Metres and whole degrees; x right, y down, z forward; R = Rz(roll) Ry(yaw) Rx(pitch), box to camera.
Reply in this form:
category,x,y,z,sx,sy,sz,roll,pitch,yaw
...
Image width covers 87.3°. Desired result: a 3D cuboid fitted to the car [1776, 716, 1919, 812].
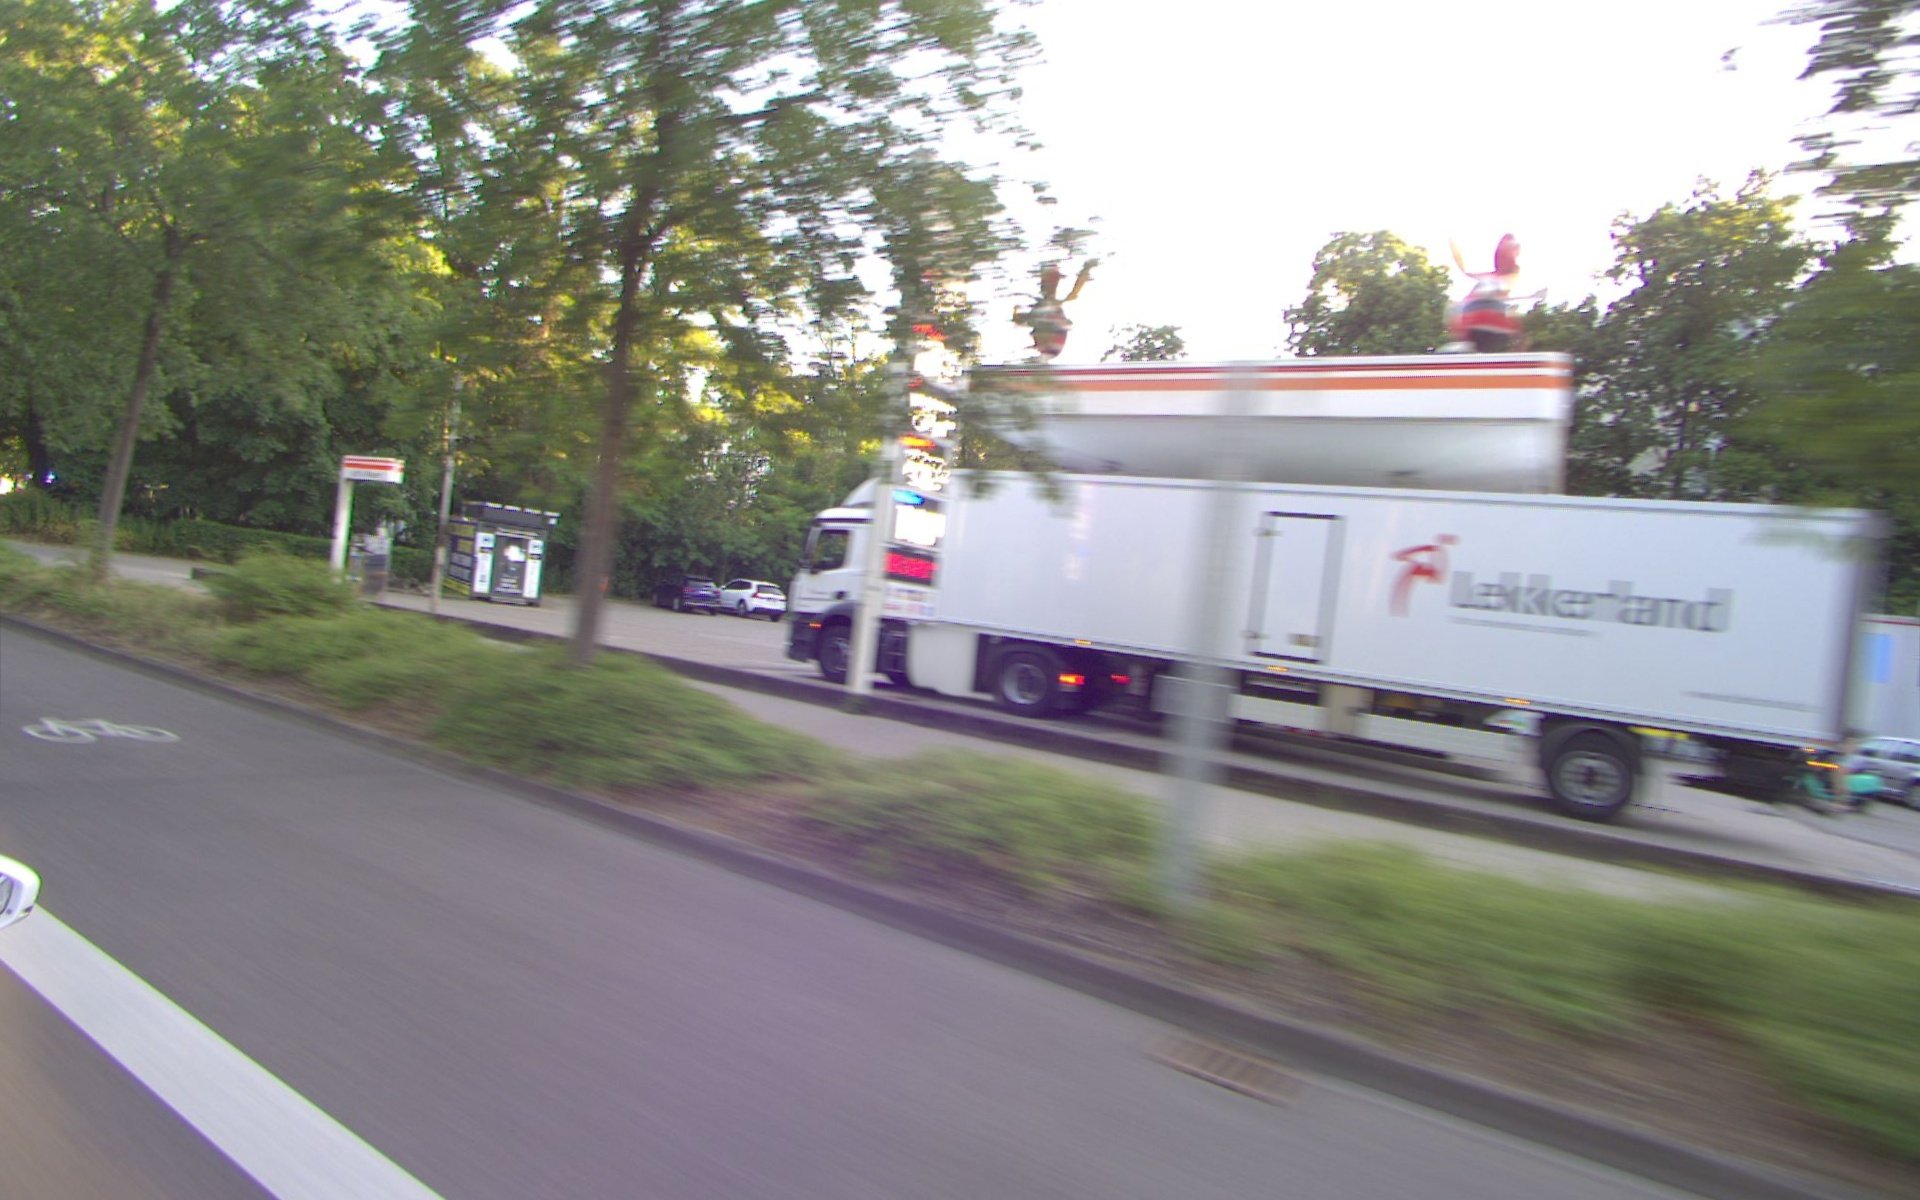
category,x,y,z,sx,sy,sz,roll,pitch,yaw
car,20.364,3.616,21.877,1.642,1.541,4.129,6,0,-2

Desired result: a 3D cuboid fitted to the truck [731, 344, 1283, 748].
category,x,y,z,sx,sy,sz,roll,pitch,yaw
truck,0.593,-1.043,17.009,8.266,5.521,3.039,7,0,29

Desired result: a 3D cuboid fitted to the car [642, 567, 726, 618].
category,x,y,z,sx,sy,sz,roll,pitch,yaw
car,-11.803,-0.346,42.861,1.876,1.659,4.239,5,3,-38

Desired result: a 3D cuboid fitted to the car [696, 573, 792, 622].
category,x,y,z,sx,sy,sz,roll,pitch,yaw
car,-9.665,-0.130,44.824,1.911,1.729,4.639,4,2,-44

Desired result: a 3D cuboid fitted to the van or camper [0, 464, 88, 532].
category,x,y,z,sx,sy,sz,roll,pitch,yaw
van or camper,-55.797,-6.175,60.745,8.118,3.236,3.436,6,-3,42

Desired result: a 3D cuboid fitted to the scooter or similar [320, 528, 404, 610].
category,x,y,z,sx,sy,sz,roll,pitch,yaw
scooter or similar,-10.787,-0.568,18.132,1.444,1.298,0.598,7,0,32

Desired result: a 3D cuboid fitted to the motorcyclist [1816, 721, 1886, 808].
category,x,y,z,sx,sy,sz,roll,pitch,yaw
motorcyclist,16.487,3.032,18.633,0.684,1.453,0.611,6,0,21

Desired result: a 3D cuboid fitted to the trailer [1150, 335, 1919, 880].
category,x,y,z,sx,sy,sz,roll,pitch,yaw
trailer,7.070,-0.235,13.347,7.798,5.529,3.026,7,0,29

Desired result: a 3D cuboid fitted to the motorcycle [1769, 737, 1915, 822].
category,x,y,z,sx,sy,sz,roll,pitch,yaw
motorcycle,16.346,3.311,18.695,1.829,1.194,0.624,7,0,21
